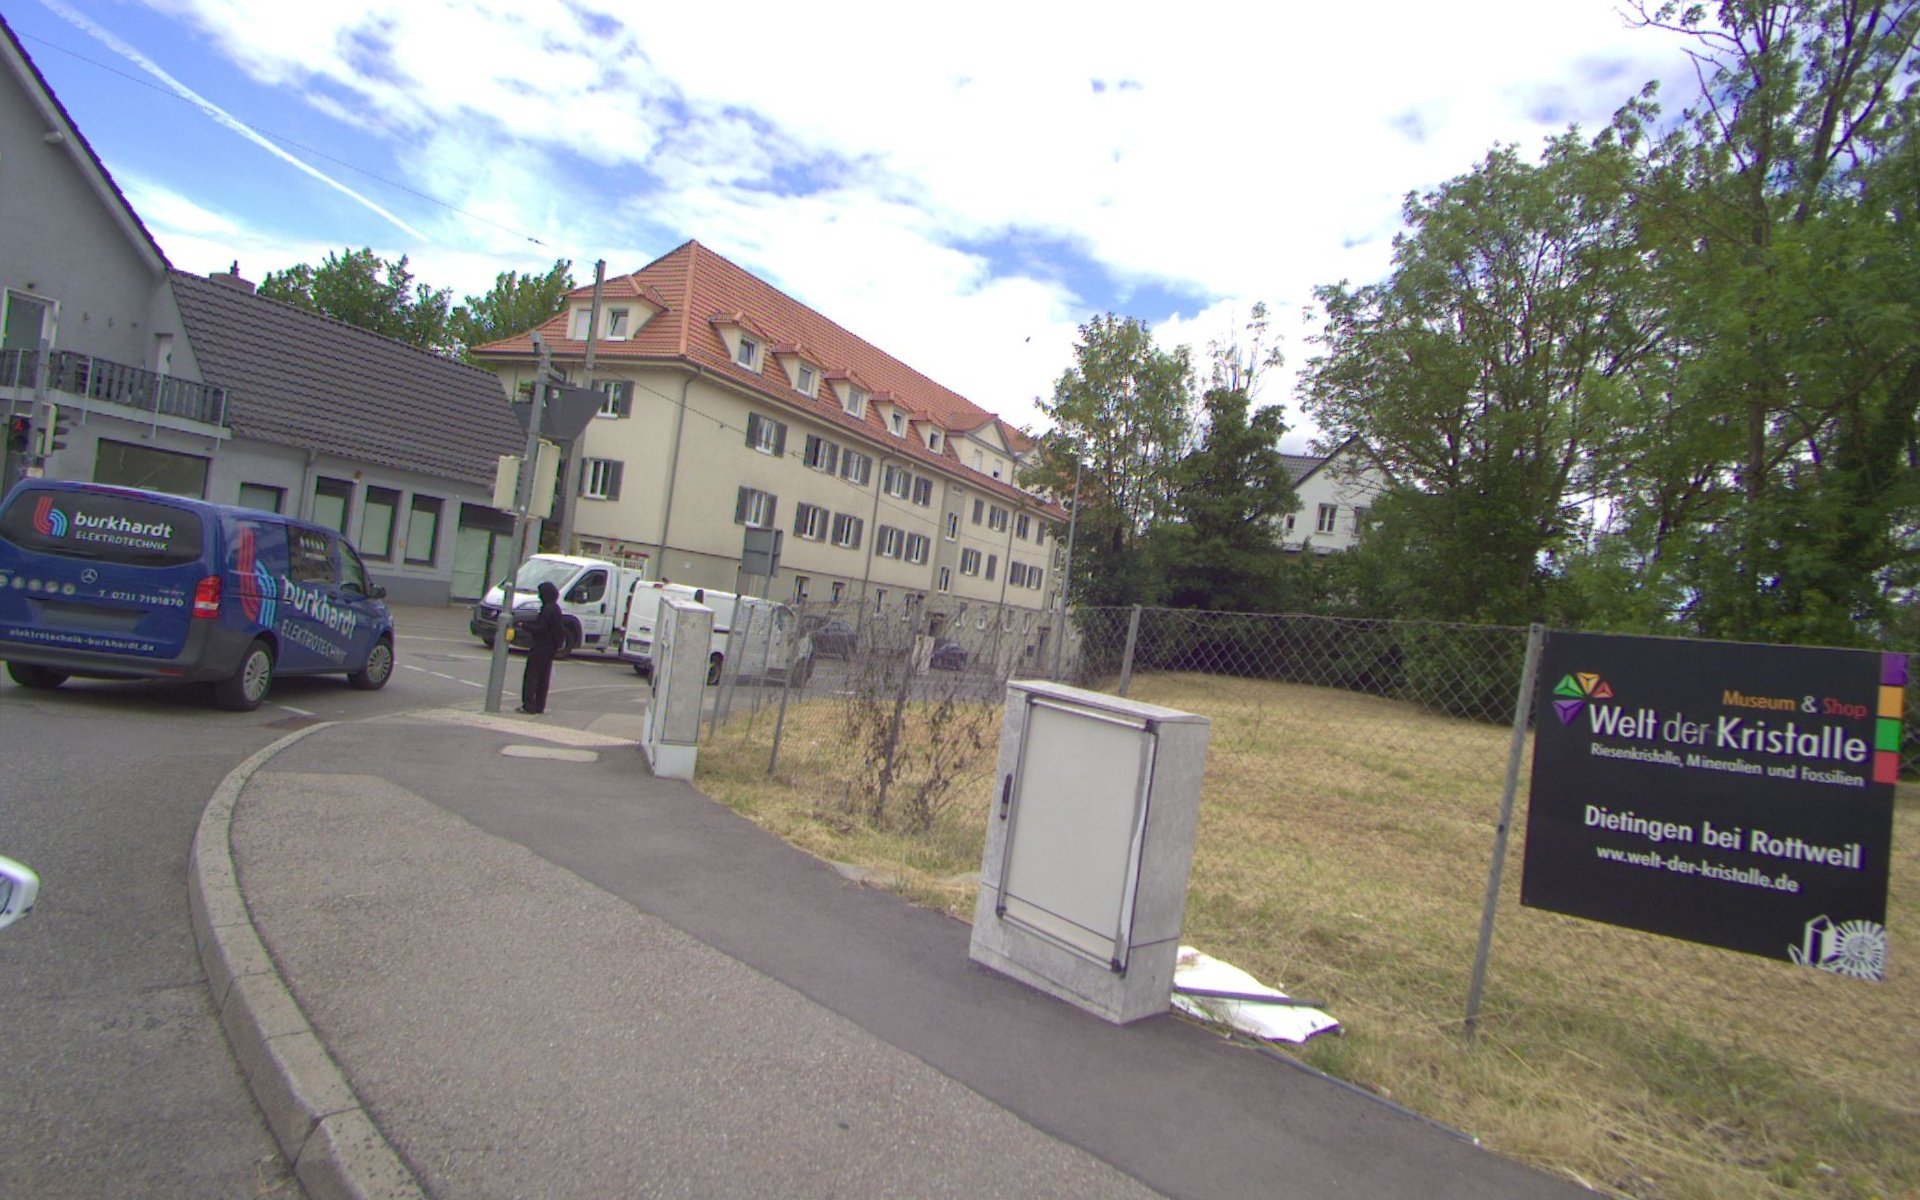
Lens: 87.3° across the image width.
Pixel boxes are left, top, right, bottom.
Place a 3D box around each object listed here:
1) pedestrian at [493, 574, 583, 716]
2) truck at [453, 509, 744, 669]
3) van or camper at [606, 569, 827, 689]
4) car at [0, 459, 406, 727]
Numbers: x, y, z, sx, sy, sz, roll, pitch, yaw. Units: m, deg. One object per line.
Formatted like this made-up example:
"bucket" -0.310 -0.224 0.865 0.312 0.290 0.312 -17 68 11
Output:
"pedestrian" -5.031 0.544 12.007 0.598 1.616 0.606 4 -2 26
"truck" -7.927 -0.066 23.040 1.965 2.730 6.409 6 -3 27
"van or camper" -5.138 0.756 22.138 1.963 2.036 5.100 9 -2 21
"car" -7.640 -0.044 10.419 1.923 1.988 4.532 7 -2 -12
